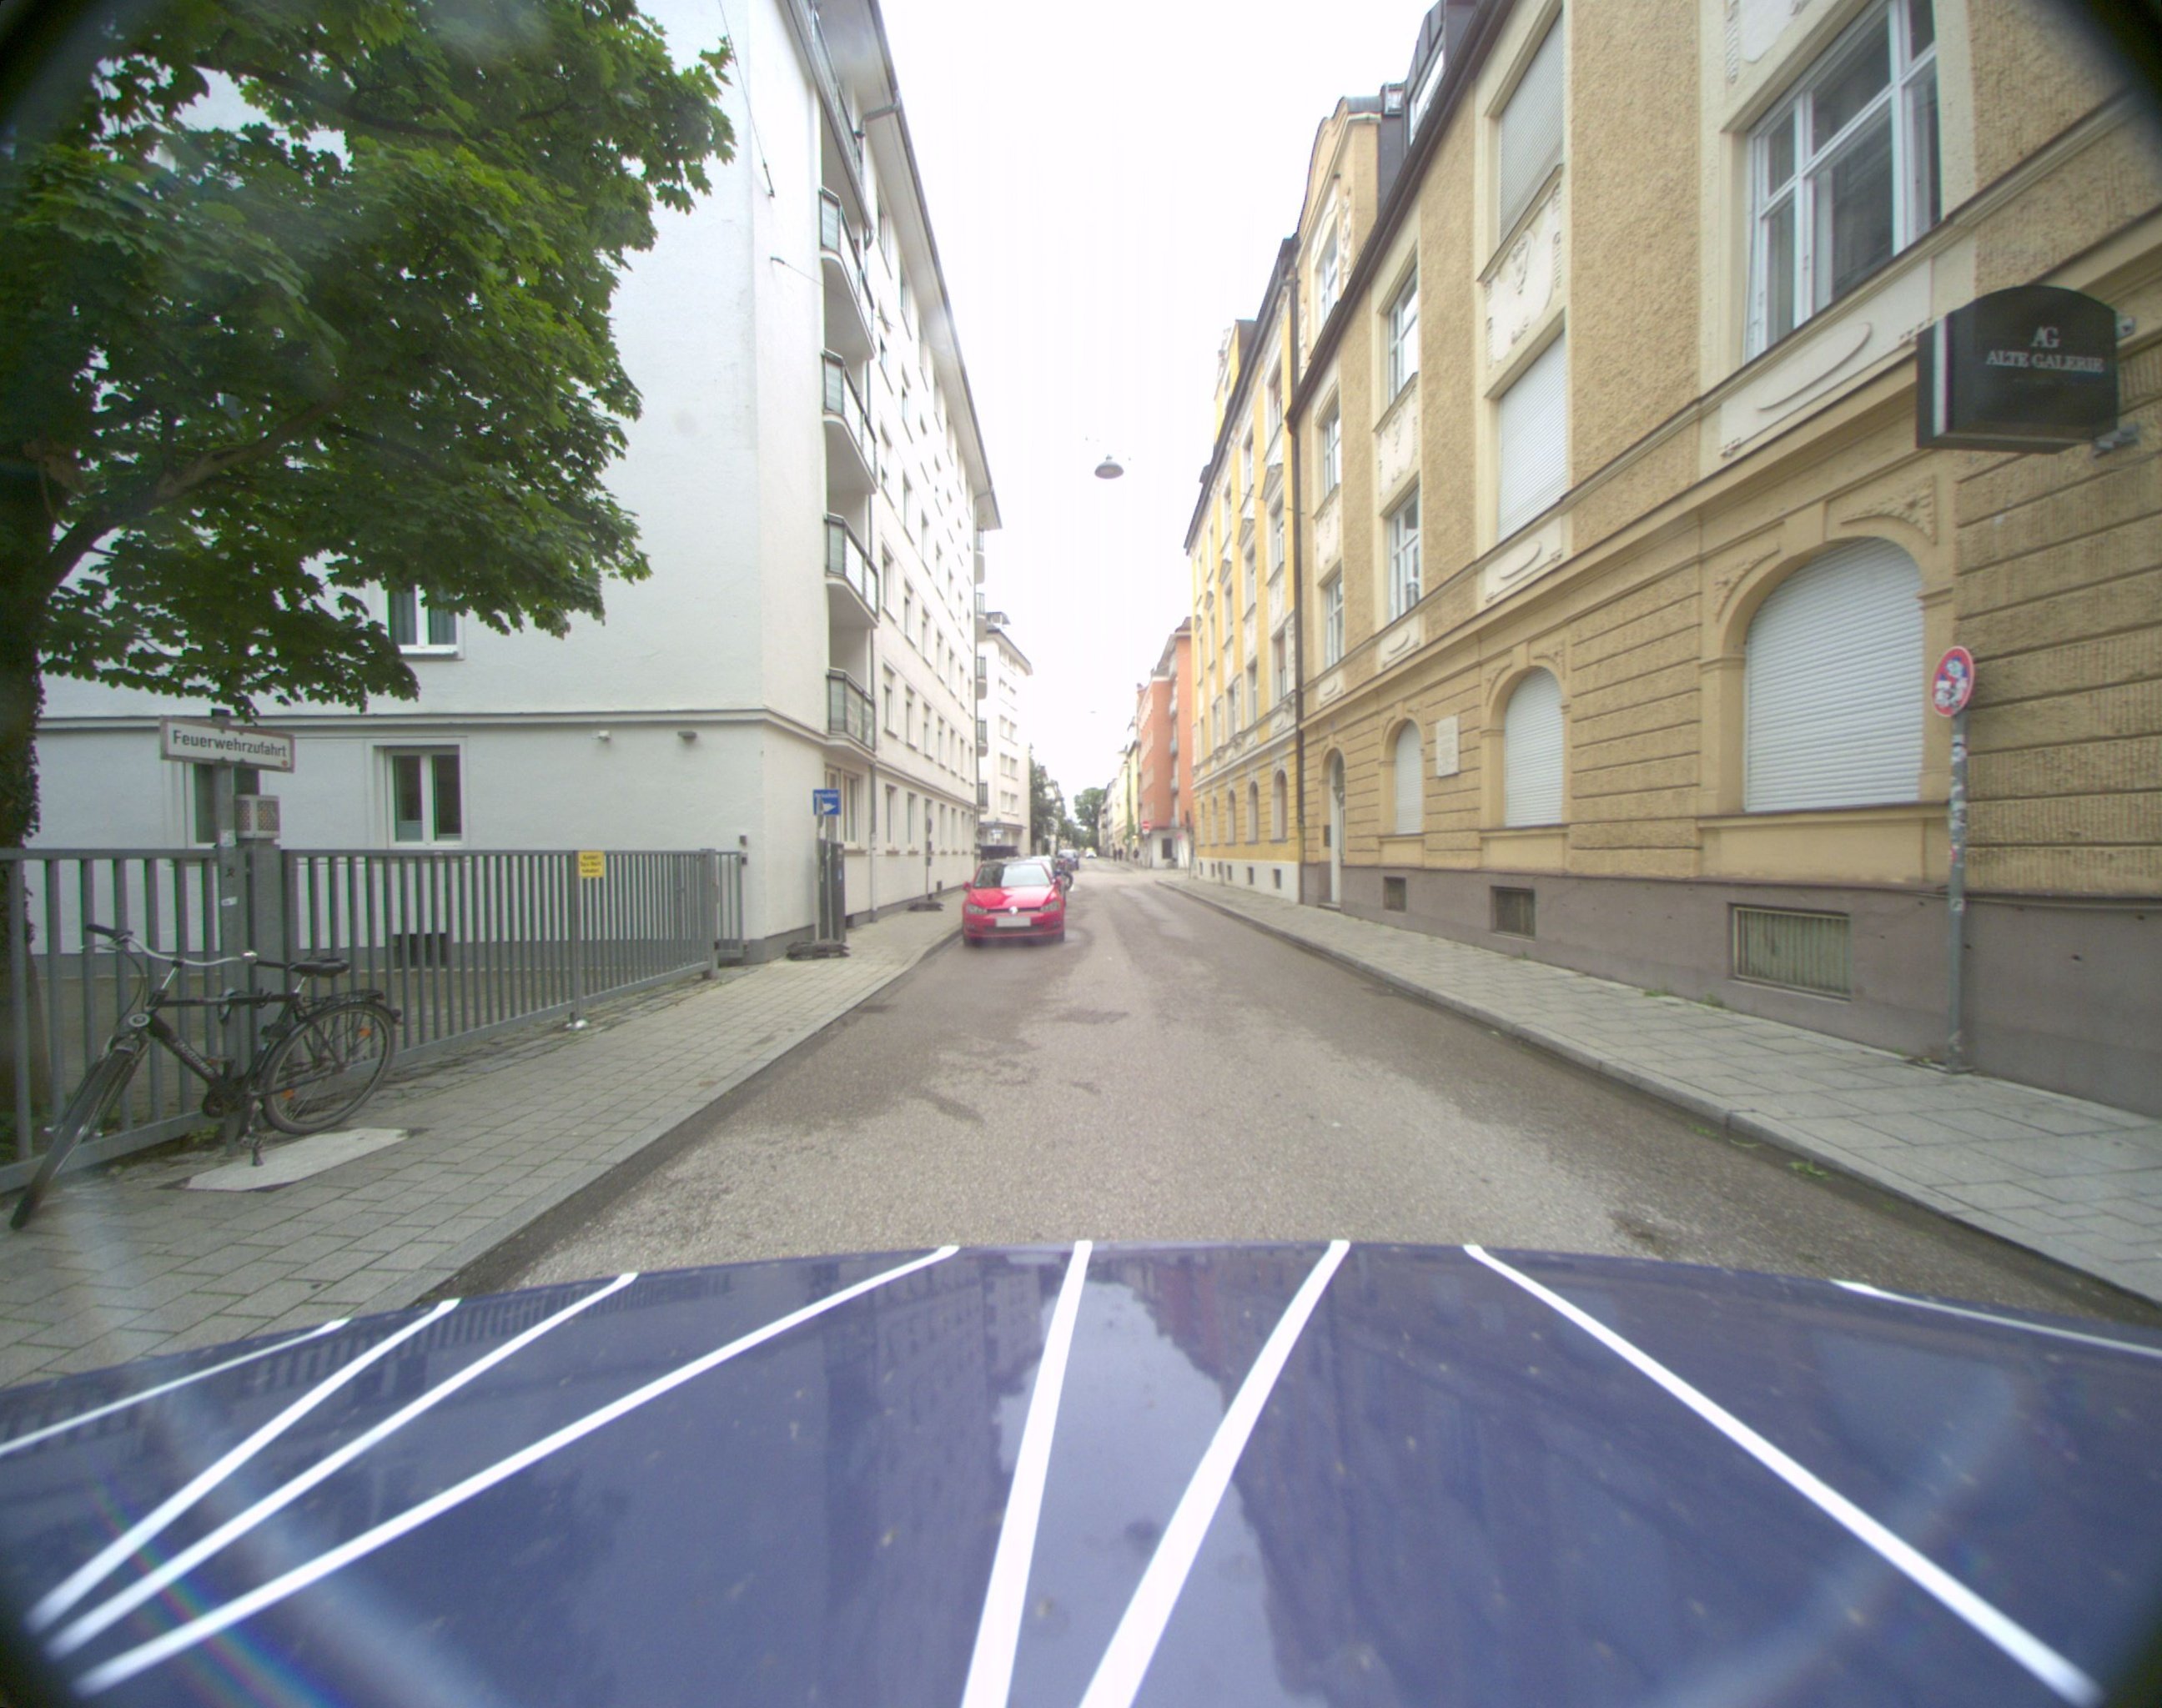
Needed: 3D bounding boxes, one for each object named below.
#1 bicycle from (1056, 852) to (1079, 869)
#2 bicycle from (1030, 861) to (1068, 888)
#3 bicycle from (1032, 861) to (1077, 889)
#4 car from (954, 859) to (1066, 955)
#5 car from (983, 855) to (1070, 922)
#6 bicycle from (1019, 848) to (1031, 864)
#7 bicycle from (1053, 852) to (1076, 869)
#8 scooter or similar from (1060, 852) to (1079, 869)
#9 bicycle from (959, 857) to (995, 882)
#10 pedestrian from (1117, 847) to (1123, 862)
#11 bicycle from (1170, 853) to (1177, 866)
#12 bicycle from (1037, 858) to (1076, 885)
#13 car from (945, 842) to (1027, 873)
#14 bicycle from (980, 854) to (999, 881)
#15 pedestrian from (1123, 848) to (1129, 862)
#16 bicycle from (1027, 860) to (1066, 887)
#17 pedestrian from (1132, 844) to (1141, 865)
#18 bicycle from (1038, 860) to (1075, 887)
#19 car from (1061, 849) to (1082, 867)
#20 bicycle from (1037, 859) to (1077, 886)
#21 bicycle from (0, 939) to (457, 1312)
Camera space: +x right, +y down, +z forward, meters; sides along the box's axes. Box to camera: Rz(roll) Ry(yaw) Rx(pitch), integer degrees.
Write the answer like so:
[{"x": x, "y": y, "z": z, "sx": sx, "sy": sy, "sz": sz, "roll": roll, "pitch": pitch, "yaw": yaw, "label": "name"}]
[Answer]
[{"x": -0.944, "y": 0.449, "z": 54.514, "sx": 1.608, "sy": 1.207, "sz": 0.529, "roll": 0, "pitch": 1, "yaw": 3, "label": "bicycle"}, {"x": -1.270, "y": 0.804, "z": 30.066, "sx": 1.438, "sy": 1.038, "sz": 0.330, "roll": 2, "pitch": 2, "yaw": 8, "label": "bicycle"}, {"x": -1.024, "y": 0.812, "z": 29.599, "sx": 1.707, "sy": 1.038, "sz": 0.360, "roll": 1, "pitch": 2, "yaw": 1, "label": "bicycle"}, {"x": -1.367, "y": 0.877, "z": 14.558, "sx": 1.766, "sy": 1.438, "sz": 4.296, "roll": -2, "pitch": 1, "yaw": -6, "label": "car"}, {"x": -1.293, "y": 0.802, "z": 19.839, "sx": 1.799, "sy": 1.430, "sz": 4.383, "roll": -2, "pitch": 1, "yaw": 1, "label": "car"}, {"x": -4.231, "y": 0.125, "z": 57.451, "sx": 0.528, "sy": 1.207, "sz": 1.610, "roll": 0, "pitch": 1, "yaw": 8, "label": "bicycle"}, {"x": -1.175, "y": 0.441, "z": 55.085, "sx": 1.608, "sy": 1.207, "sz": 0.529, "roll": 0, "pitch": 1, "yaw": 3, "label": "bicycle"}, {"x": -0.791, "y": 0.470, "z": 53.088, "sx": 1.340, "sy": 1.207, "sz": 0.344, "roll": 0, "pitch": 1, "yaw": 3, "label": "scooter or similar"}, {"x": -4.634, "y": 0.691, "z": 33.842, "sx": 1.502, "sy": 1.038, "sz": 0.398, "roll": 1, "pitch": 2, "yaw": -18, "label": "bicycle"}, {"x": 4.642, "y": 0.044, "z": 91.110, "sx": 0.726, "sy": 1.783, "sz": 0.829, "roll": 0, "pitch": 1, "yaw": 0, "label": "pedestrian"}, {"x": 6.748, "y": 0.410, "z": 55.440, "sx": 0.391, "sy": 0.932, "sz": 1.540, "roll": 0, "pitch": 1, "yaw": 0, "label": "bicycle"}, {"x": -1.087, "y": 0.780, "z": 33.384, "sx": 1.699, "sy": 1.154, "sz": 0.378, "roll": -1, "pitch": 1, "yaw": -1, "label": "bicycle"}, {"x": -5.884, "y": 0.239, "z": 47.123, "sx": 4.676, "sy": 1.880, "sz": 1.935, "roll": 0, "pitch": 0, "yaw": 8, "label": "car"}, {"x": -4.309, "y": 0.635, "z": 35.690, "sx": 0.399, "sy": 1.198, "sz": 1.502, "roll": 1, "pitch": 1, "yaw": -24, "label": "bicycle"}, {"x": 5.424, "y": 0.117, "z": 91.245, "sx": 0.699, "sy": 1.783, "sz": 0.763, "roll": 0, "pitch": 1, "yaw": 1, "label": "pedestrian"}, {"x": -1.411, "y": 0.789, "z": 30.979, "sx": 1.520, "sy": 1.038, "sz": 0.360, "roll": 2, "pitch": 2, "yaw": 8, "label": "bicycle"}, {"x": 4.526, "y": 0.064, "z": 62.018, "sx": 0.613, "sy": 1.684, "sz": 0.565, "roll": 0, "pitch": 1, "yaw": -1, "label": "pedestrian"}, {"x": -1.001, "y": 0.791, "z": 31.315, "sx": 1.441, "sy": 1.038, "sz": 0.360, "roll": 2, "pitch": 2, "yaw": 8, "label": "bicycle"}, {"x": -0.732, "y": 0.284, "z": 60.909, "sx": 1.654, "sy": 1.391, "sz": 3.999, "roll": 0, "pitch": 1, "yaw": 0, "label": "car"}, {"x": -1.049, "y": 0.786, "z": 32.986, "sx": 1.699, "sy": 1.154, "sz": 0.378, "roll": -1, "pitch": 1, "yaw": -1, "label": "bicycle"}, {"x": -4.115, "y": 1.072, "z": 3.638, "sx": 0.709, "sy": 1.191, "sz": 1.834, "roll": -1, "pitch": -2, "yaw": 1, "label": "bicycle"}]
